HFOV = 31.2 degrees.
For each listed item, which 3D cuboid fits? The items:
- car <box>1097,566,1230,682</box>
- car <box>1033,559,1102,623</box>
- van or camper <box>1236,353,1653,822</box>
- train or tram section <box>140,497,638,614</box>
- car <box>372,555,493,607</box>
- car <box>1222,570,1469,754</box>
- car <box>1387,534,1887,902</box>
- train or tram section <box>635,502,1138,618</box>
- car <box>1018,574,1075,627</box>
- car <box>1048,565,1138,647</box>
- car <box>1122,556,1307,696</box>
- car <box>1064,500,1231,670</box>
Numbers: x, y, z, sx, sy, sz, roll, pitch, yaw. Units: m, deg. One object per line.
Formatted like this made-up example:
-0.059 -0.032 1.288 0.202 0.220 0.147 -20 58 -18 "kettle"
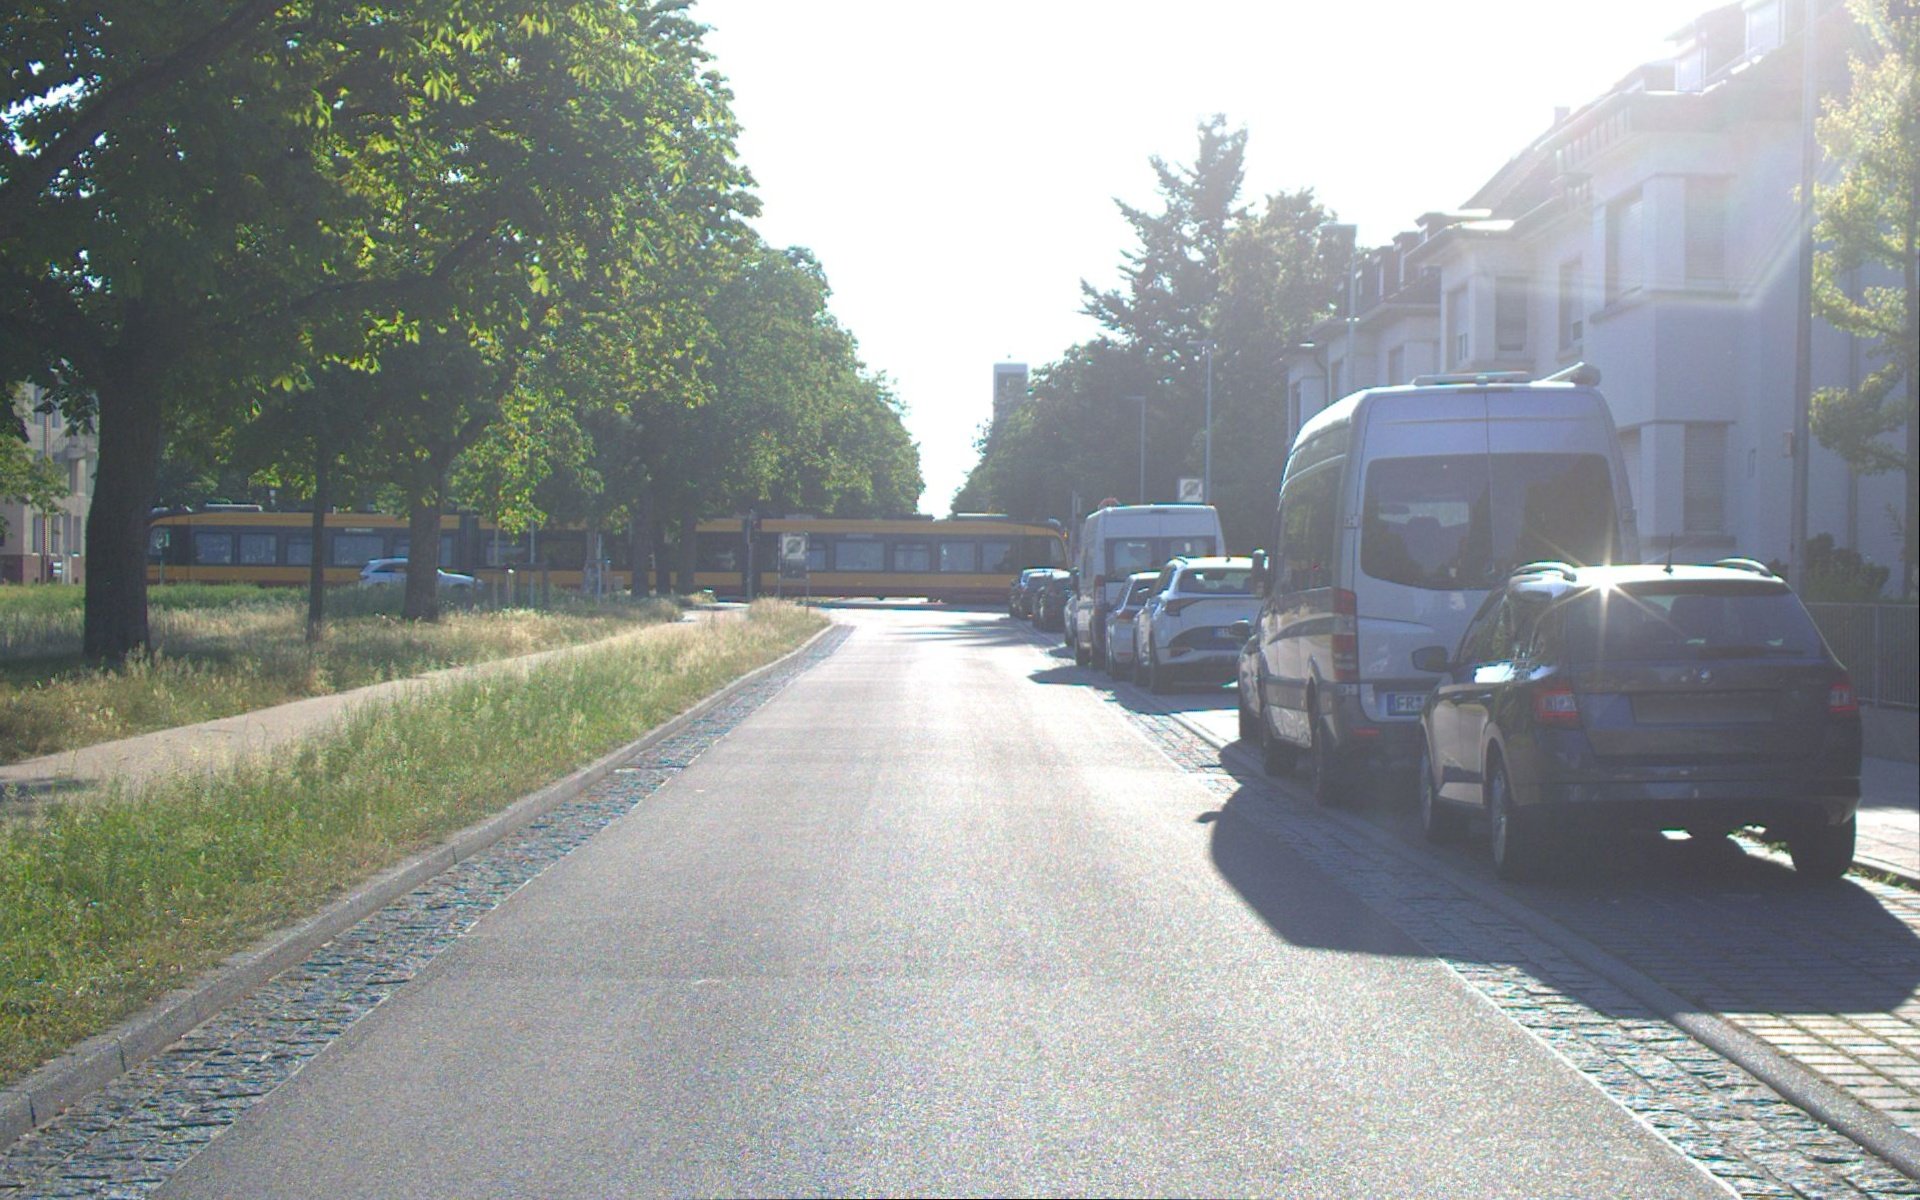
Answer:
2.784 0.303 47.666 1.650 1.525 3.851 0 1 1 "car"
2.652 -0.240 85.632 1.650 1.525 3.851 0 1 1 "car"
3.159 -0.068 23.706 1.943 2.768 5.940 2 0 0 "van or camper"
-22.364 -1.736 135.730 19.069 3.943 3.644 2 0 -6 "train or tram section"
-19.474 -0.690 127.031 4.345 1.758 2.000 2 0 -8 "car"
3.264 0.501 29.742 1.621 1.406 3.968 -3 0 0 "car"
3.261 0.506 17.311 1.663 1.587 4.086 -2 0 0 "car"
-2.978 -1.570 137.533 19.779 3.943 3.644 2 0 -5 "train or tram section"
2.571 0.000 102.564 1.650 1.525 3.851 0 1 1 "car"
2.558 0.097 66.699 1.650 1.525 3.851 0 1 1 "car"
3.078 0.277 42.315 1.837 1.630 4.132 0 1 -2 "car"
2.880 -0.259 53.898 2.126 2.524 5.189 0 1 -2 "car"
